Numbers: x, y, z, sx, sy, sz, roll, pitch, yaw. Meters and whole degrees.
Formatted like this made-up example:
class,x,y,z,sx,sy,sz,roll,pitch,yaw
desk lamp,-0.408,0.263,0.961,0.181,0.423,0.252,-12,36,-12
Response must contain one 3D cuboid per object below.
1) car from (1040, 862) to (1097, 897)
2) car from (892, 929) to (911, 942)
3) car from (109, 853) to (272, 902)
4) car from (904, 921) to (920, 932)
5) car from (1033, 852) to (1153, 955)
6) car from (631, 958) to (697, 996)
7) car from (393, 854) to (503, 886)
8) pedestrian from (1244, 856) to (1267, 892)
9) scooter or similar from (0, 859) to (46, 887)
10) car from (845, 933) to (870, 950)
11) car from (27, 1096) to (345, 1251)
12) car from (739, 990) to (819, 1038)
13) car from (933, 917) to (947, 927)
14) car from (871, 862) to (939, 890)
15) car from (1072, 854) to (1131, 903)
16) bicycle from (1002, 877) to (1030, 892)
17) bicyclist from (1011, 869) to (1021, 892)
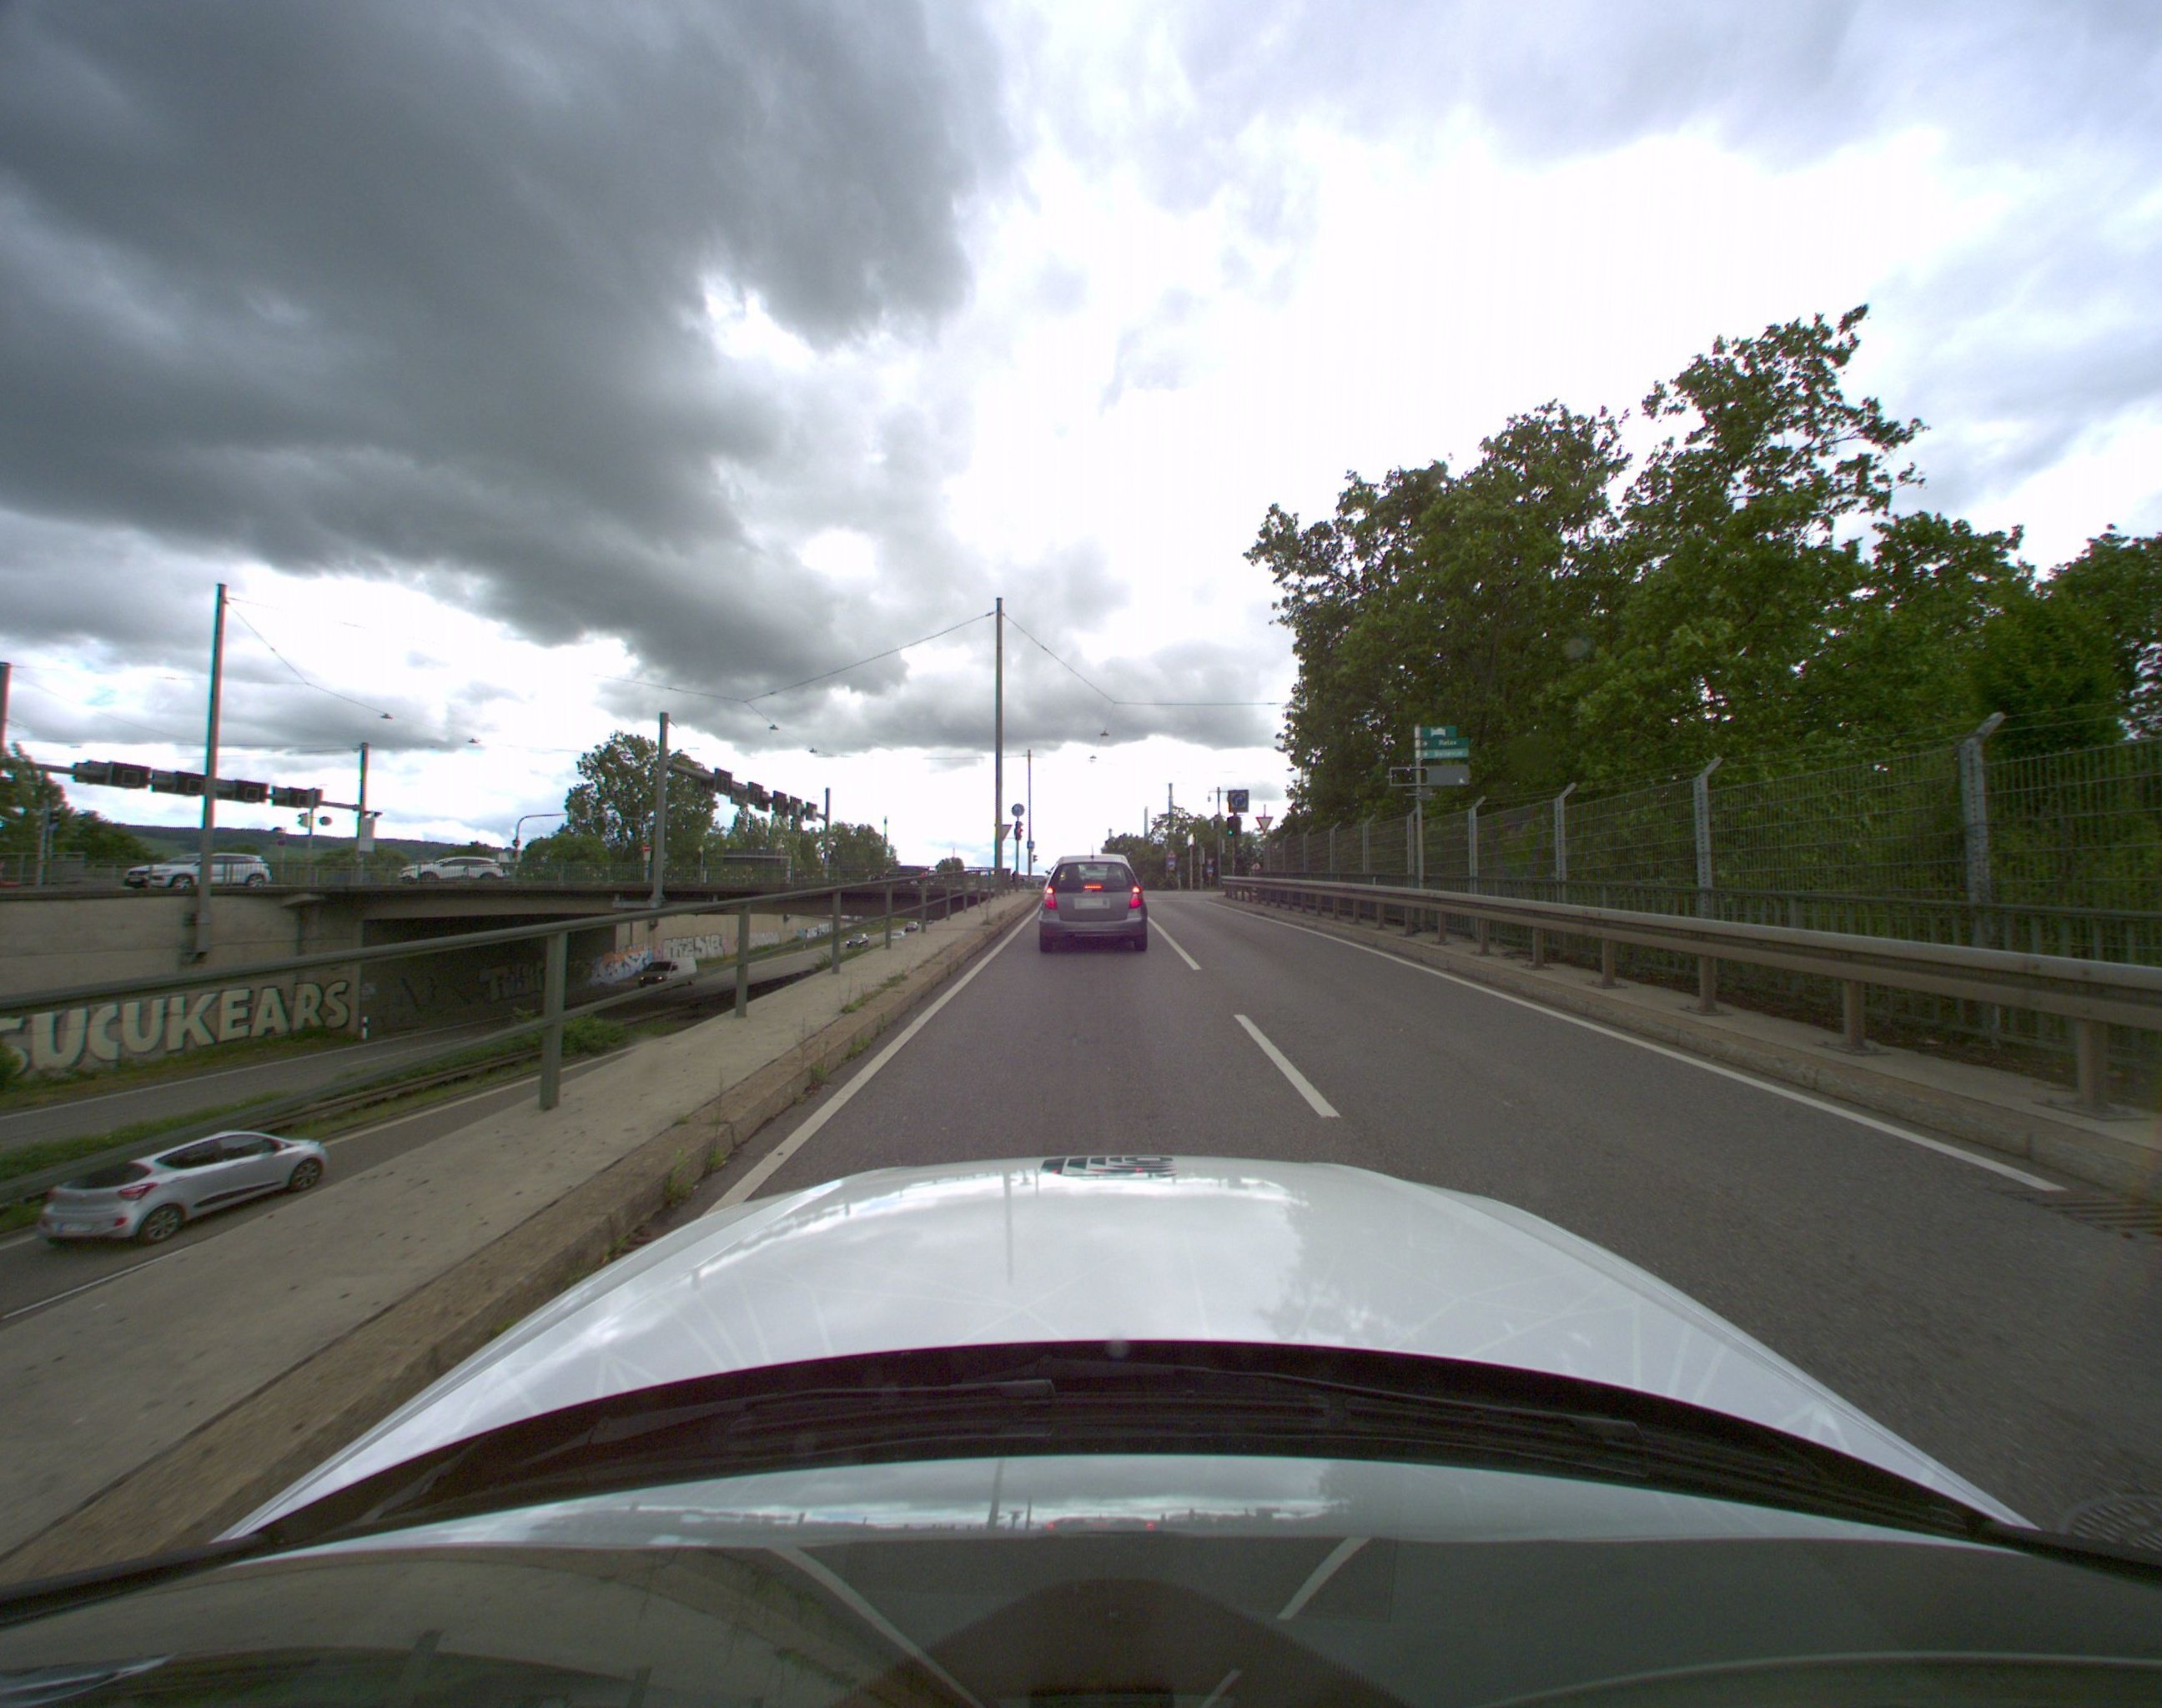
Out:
class,x,y,z,sx,sy,sz,roll,pitch,yaw
car,-0.713,1.285,42.682,1.936,1.717,3.975,0,0,-18
car,-24.225,11.008,110.116,1.723,1.528,4.085,0,-3,0
car,-36.840,0.934,33.866,1.984,1.870,4.218,-1,0,4
car,-30.141,12.942,145.674,1.925,1.842,4.408,-1,-3,0
car,0.277,0.768,14.586,1.850,1.588,4.002,0,0,2
car,-28.751,8.443,56.369,1.988,2.067,5.173,0,-3,-1
car,-33.552,0.826,43.254,1.815,1.576,4.373,-1,-1,41
pedestrian,8.481,0.988,39.695,0.830,1.678,0.978,-1,-4,-3
scooter or similar,-42.115,0.771,32.225,0.541,1.094,1.414,-1,-2,-4
car,-27.469,10.745,100.243,1.910,1.739,4.550,-1,-3,-1
car,-15.936,5.645,14.830,1.550,1.553,3.683,-1,-4,2
car,-12.937,6.837,35.164,1.736,1.452,4.166,-1,-3,2
car,-28.489,13.777,164.378,1.987,1.842,4.422,0,-3,0
car,-11.244,1.402,52.207,3.976,1.717,1.936,0,-1,-2
car,0.701,0.879,31.110,1.927,1.717,4.400,0,0,-3
bicycle,-4.843,2.258,60.460,2.033,1.124,0.926,0,-1,-11
bicyclist,-4.834,1.972,60.478,0.653,1.673,0.866,0,-1,-10
